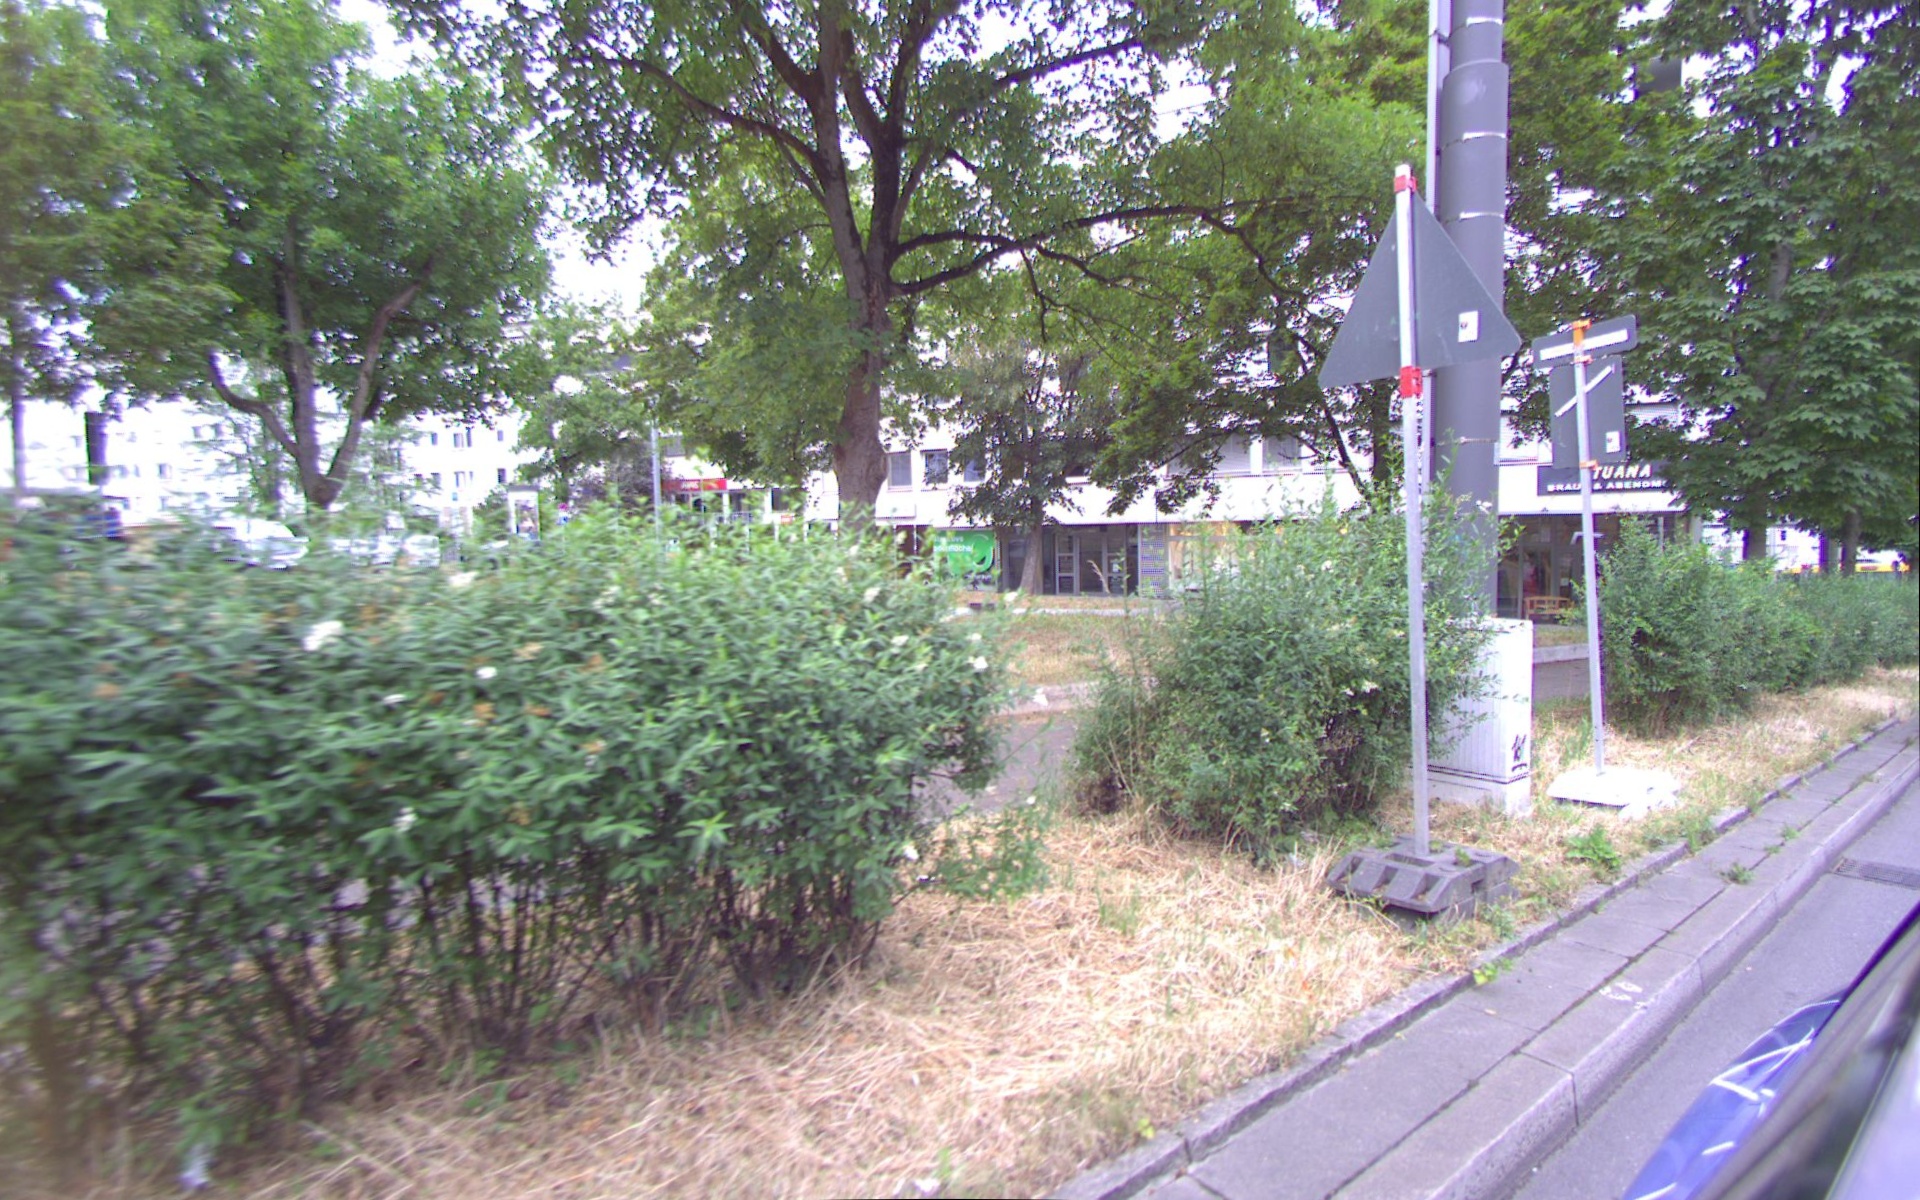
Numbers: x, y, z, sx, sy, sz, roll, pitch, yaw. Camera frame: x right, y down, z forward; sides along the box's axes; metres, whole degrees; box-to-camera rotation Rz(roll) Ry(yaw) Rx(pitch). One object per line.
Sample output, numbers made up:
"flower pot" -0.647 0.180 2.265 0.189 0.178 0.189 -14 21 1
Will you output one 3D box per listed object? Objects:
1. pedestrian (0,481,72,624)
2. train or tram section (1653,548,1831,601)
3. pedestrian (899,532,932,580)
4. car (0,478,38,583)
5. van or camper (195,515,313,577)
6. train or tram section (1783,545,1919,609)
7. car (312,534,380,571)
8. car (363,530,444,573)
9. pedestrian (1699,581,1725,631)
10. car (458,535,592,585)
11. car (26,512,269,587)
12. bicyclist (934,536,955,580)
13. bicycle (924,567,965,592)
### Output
"pedestrian" -10.460 -0.531 11.450 0.609 1.561 0.549 0 2 -42
"train or tram section" 59.110 -1.886 77.350 2.838 3.484 14.224 -3 1 2
"pedestrian" -1.636 -1.609 37.291 0.876 1.722 0.865 2 2 38
"car" -20.797 -1.346 18.881 2.003 2.054 4.950 -2 0 20
"van or camper" -29.517 -2.202 42.247 5.404 2.258 2.273 -2 1 35
"train or tram section" 57.531 -1.564 63.196 2.885 3.602 14.193 -2 2 10
"car" -33.485 -2.567 55.220 3.634 1.825 1.603 -2 1 31
"car" -28.326 -2.445 51.475 4.438 1.909 1.974 -2 1 38
"pedestrian" 27.555 0.220 37.107 0.669 1.817 0.602 0 0 30
"car" -14.745 -1.364 34.531 1.733 1.517 4.118 -2 1 23
"car" -18.830 -1.144 23.693 1.731 1.526 4.123 -2 1 20
"bicyclist" -0.561 -1.560 37.549 0.593 1.622 0.506 2 2 38
"bicycle" -0.566 -0.769 37.554 1.534 0.869 0.513 2 2 38
